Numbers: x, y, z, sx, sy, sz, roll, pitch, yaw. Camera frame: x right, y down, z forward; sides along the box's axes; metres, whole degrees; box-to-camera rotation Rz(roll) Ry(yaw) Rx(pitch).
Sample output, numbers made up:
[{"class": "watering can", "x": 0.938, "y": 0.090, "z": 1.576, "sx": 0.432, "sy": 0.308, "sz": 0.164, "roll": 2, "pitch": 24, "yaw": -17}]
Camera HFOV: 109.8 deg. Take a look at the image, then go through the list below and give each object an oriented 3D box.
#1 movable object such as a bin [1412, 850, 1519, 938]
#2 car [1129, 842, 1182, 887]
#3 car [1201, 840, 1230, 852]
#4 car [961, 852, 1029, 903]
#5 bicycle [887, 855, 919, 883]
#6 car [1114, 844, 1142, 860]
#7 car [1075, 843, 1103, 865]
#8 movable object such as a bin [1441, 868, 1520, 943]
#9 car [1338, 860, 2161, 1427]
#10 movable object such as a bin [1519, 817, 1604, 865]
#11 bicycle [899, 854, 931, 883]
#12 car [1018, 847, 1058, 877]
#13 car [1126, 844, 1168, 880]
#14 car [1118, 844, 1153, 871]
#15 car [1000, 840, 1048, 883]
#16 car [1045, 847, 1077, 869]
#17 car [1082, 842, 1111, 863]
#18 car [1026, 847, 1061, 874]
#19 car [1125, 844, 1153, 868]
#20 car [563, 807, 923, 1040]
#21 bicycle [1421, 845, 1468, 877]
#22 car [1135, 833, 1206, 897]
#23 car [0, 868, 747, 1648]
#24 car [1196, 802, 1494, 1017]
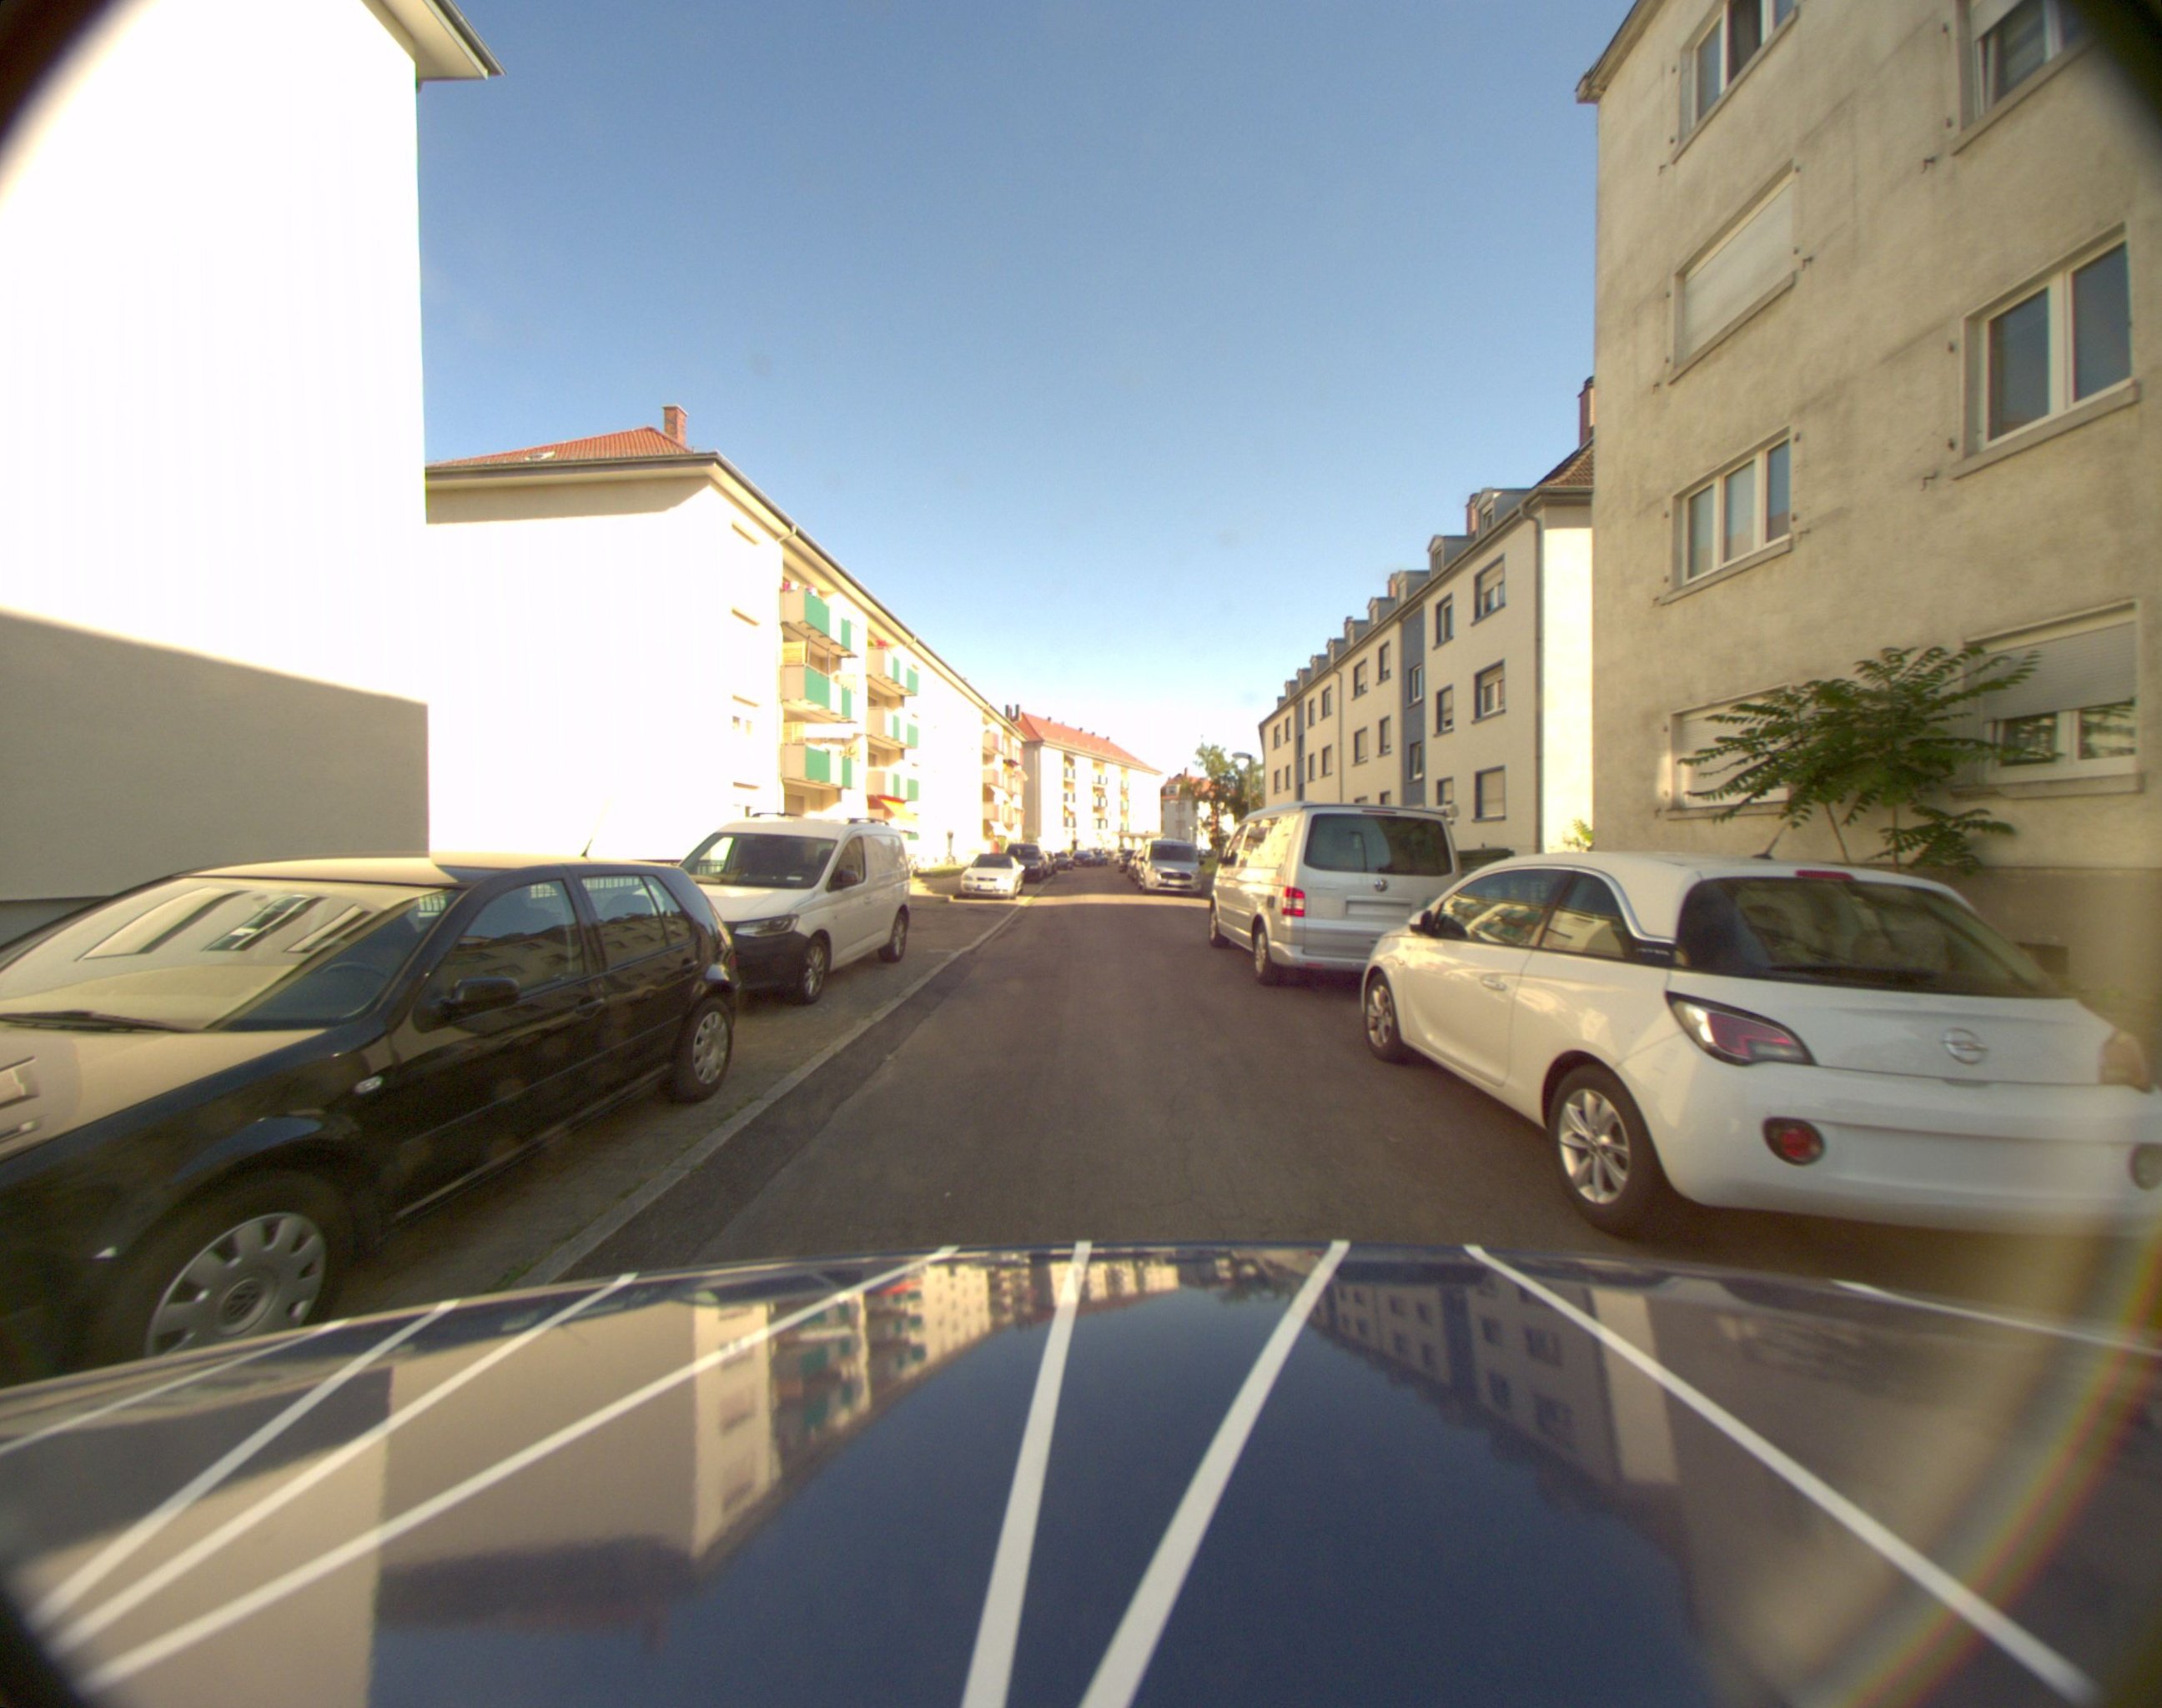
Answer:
[{"class": "movable object such as a bin", "x": 6.401, "y": 0.644, "z": 12.727, "sx": 1.258, "sy": 1.369, "sz": 1.044, "roll": -1, "pitch": 1, "yaw": 0}, {"class": "car", "x": 2.956, "y": 0.373, "z": 30.928, "sx": 1.677, "sy": 1.582, "sz": 4.163, "roll": 3, "pitch": 1, "yaw": 0}, {"class": "car", "x": 16.585, "y": -0.989, "z": 93.550, "sx": 1.571, "sy": 1.417, "sz": 3.987, "roll": 4, "pitch": 2, "yaw": 41}, {"class": "car", "x": -2.684, "y": 0.682, "z": 24.584, "sx": 1.746, "sy": 1.398, "sz": 4.312, "roll": 1, "pitch": 1, "yaw": -1}, {"class": "bicycle", "x": -7.346, "y": 0.600, "z": 31.441, "sx": 0.506, "sy": 1.038, "sz": 2.075, "roll": -2, "pitch": 1, "yaw": 9}, {"class": "car", "x": 5.124, "y": -0.267, "z": 81.971, "sx": 1.754, "sy": 1.625, "sz": 4.412, "roll": 2, "pitch": 1, "yaw": 21}, {"class": "car", "x": 0.711, "y": -0.031, "z": 64.559, "sx": 1.580, "sy": 1.752, "sz": 4.242, "roll": 2, "pitch": 1, "yaw": 12}, {"class": "movable object such as a bin", "x": 6.116, "y": 0.770, "z": 11.665, "sx": 0.774, "sy": 1.073, "sz": 0.816, "roll": -1, "pitch": 1, "yaw": 0}, {"class": "car", "x": 2.781, "y": 0.821, "z": 3.947, "sx": 1.691, "sy": 1.450, "sz": 3.721, "roll": 1, "pitch": 1, "yaw": 2}, {"class": "movable object such as a bin", "x": 10.542, "y": -0.280, "z": 16.727, "sx": 1.132, "sy": 0.993, "sz": 1.204, "roll": -1, "pitch": 1, "yaw": 1}, {"class": "bicycle", "x": -6.827, "y": 0.571, "z": 31.311, "sx": 0.506, "sy": 1.086, "sz": 2.075, "roll": -2, "pitch": 1, "yaw": 9}, {"class": "car", "x": -2.248, "y": 0.384, "z": 40.470, "sx": 1.643, "sy": 1.451, "sz": 3.860, "roll": 1, "pitch": 1, "yaw": 3}, {"class": "car", "x": 3.036, "y": 0.318, "z": 35.535, "sx": 1.648, "sy": 1.510, "sz": 3.702, "roll": 3, "pitch": 1, "yaw": 1}, {"class": "car", "x": 3.259, "y": 0.153, "z": 45.941, "sx": 1.904, "sy": 1.450, "sz": 4.396, "roll": 2, "pitch": 1, "yaw": 3}, {"class": "car", "x": -2.553, "y": 0.280, "z": 35.299, "sx": 1.763, "sy": 1.829, "sz": 4.919, "roll": 1, "pitch": 1, "yaw": 1}, {"class": "car", "x": -1.395, "y": 0.272, "z": 54.189, "sx": 1.676, "sy": 1.411, "sz": 3.861, "roll": 1, "pitch": 1, "yaw": 8}, {"class": "car", "x": 1.438, "y": -0.168, "z": 69.908, "sx": 1.756, "sy": 1.724, "sz": 4.003, "roll": -4, "pitch": 0, "yaw": 13}, {"class": "car", "x": -2.181, "y": 0.351, "z": 45.308, "sx": 1.667, "sy": 1.440, "sz": 3.860, "roll": 1, "pitch": 1, "yaw": 3}, {"class": "car", "x": 3.987, "y": 0.103, "z": 51.889, "sx": 1.745, "sy": 1.508, "sz": 3.984, "roll": 3, "pitch": 1, "yaw": 6}, {"class": "car", "x": -3.251, "y": 0.526, "z": 8.479, "sx": 1.802, "sy": 1.835, "sz": 4.539, "roll": 2, "pitch": 1, "yaw": 2}, {"class": "bicycle", "x": 11.529, "y": 0.203, "z": 24.142, "sx": 0.500, "sy": 0.956, "sz": 2.074, "roll": -4, "pitch": 1, "yaw": 2}, {"class": "car", "x": 2.825, "y": 0.284, "z": 25.042, "sx": 1.804, "sy": 1.819, "sz": 4.948, "roll": 2, "pitch": 1, "yaw": 1}, {"class": "car", "x": -3.076, "y": 0.862, "z": 2.855, "sx": 1.802, "sy": 1.407, "sz": 4.048, "roll": 2, "pitch": 1, "yaw": 0}, {"class": "car", "x": 2.774, "y": 0.470, "z": 9.372, "sx": 1.955, "sy": 1.922, "sz": 4.855, "roll": 1, "pitch": 1, "yaw": 0}]
